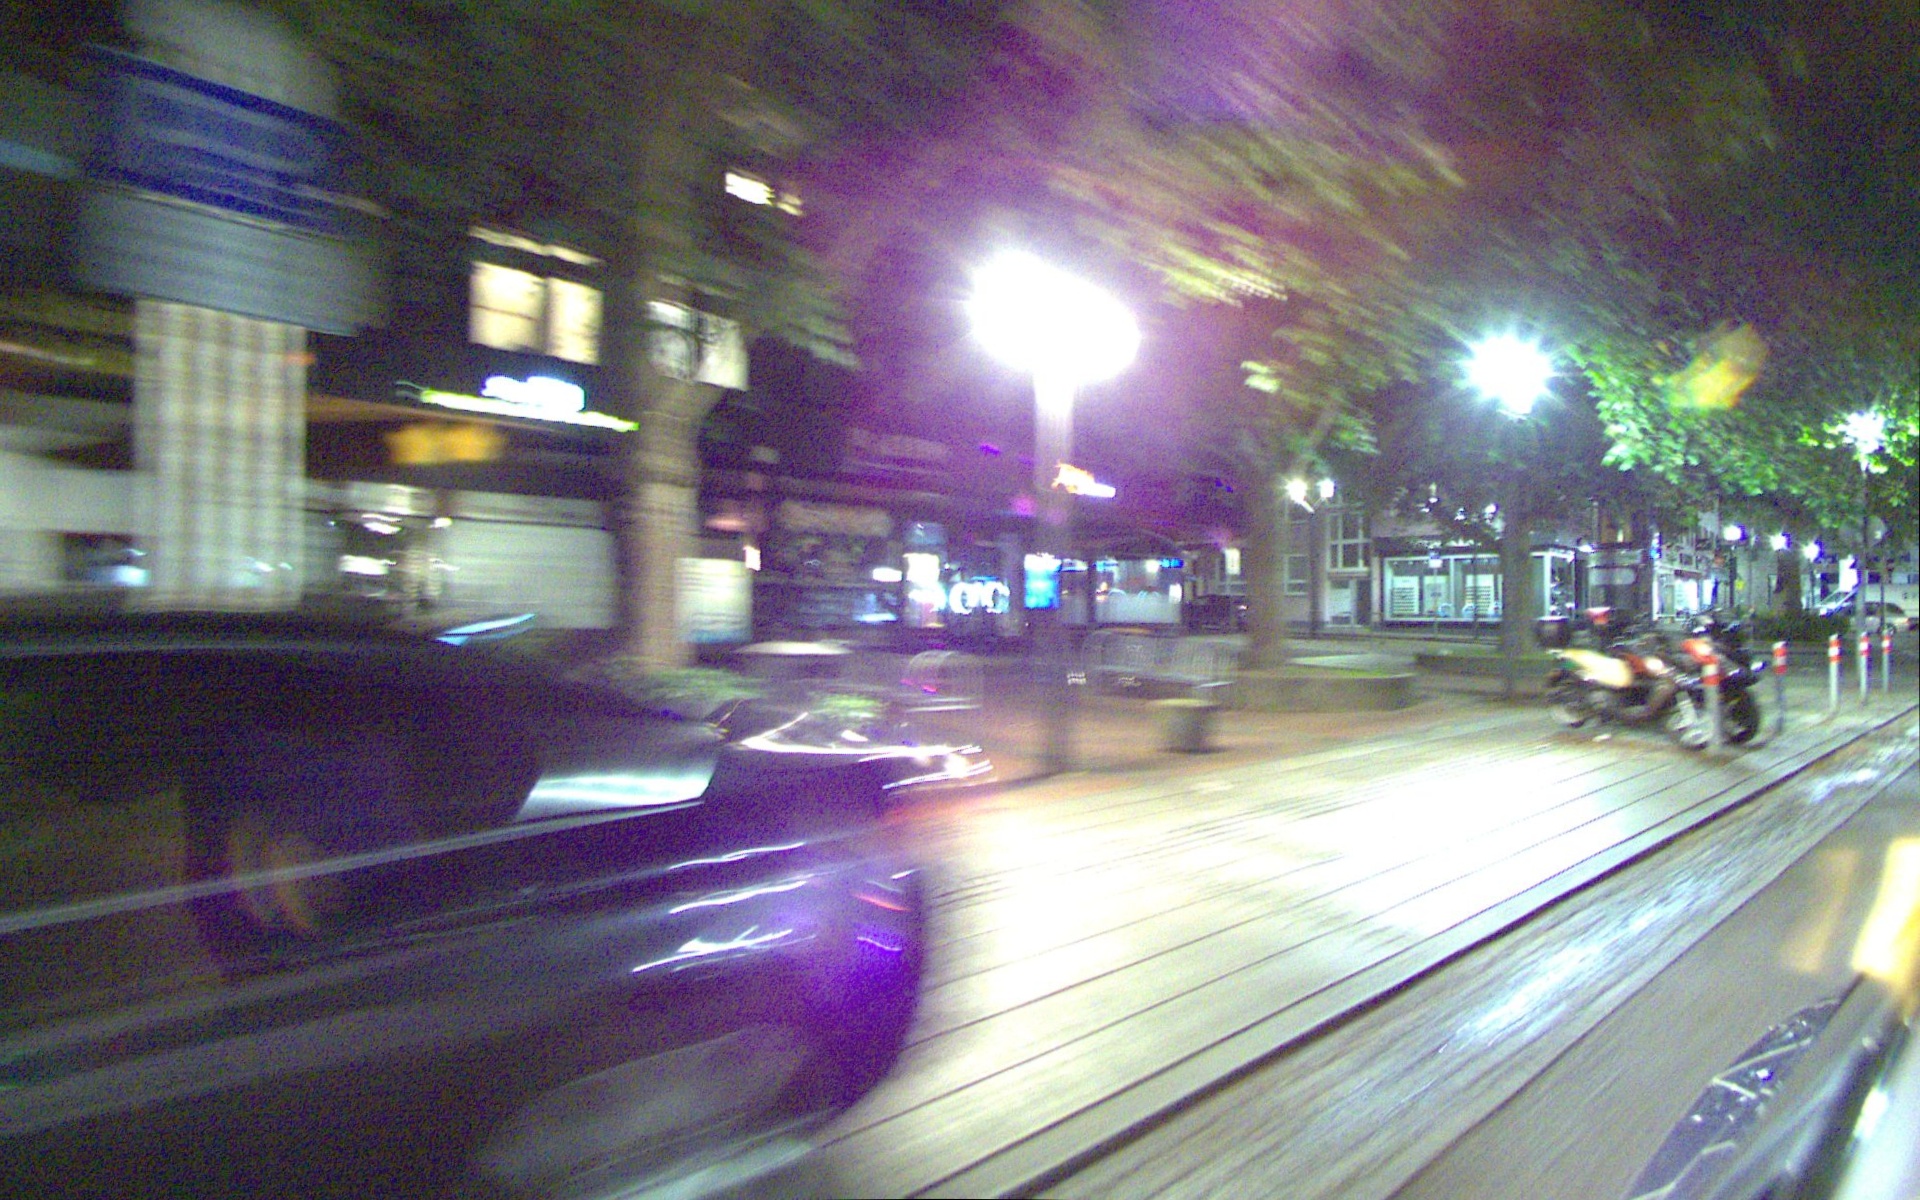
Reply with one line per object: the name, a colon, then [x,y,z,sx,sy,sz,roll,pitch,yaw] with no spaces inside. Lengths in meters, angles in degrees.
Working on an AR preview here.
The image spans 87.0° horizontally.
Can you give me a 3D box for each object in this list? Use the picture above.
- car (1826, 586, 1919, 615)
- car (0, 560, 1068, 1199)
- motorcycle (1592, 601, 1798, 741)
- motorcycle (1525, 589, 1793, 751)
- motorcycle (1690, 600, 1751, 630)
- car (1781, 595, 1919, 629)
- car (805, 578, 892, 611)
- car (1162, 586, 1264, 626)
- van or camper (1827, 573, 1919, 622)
car: [47.430,0.004,52.660,3.140,1.474,1.683,0,0,21]
car: [-1.990,0.670,1.951,4.385,1.482,1.758,0,2,-38]
motorcycle: [7.802,0.690,10.893,0.505,1.313,2.172,0,1,-4]
motorcycle: [6.799,0.601,10.041,0.647,1.409,2.276,0,1,-16]
motorcycle: [33.837,0.668,45.026,2.183,1.287,0.531,0,-1,6]
car: [39.687,0.520,45.143,4.479,1.474,1.630,0,0,14]
car: [-5.384,-0.251,48.987,3.933,1.498,1.748,0,-1,-43]
car: [11.070,0.250,44.430,1.868,1.610,3.992,2,0,-42]
van or camper: [50.509,-0.149,54.012,5.971,2.565,2.150,0,0,18]
